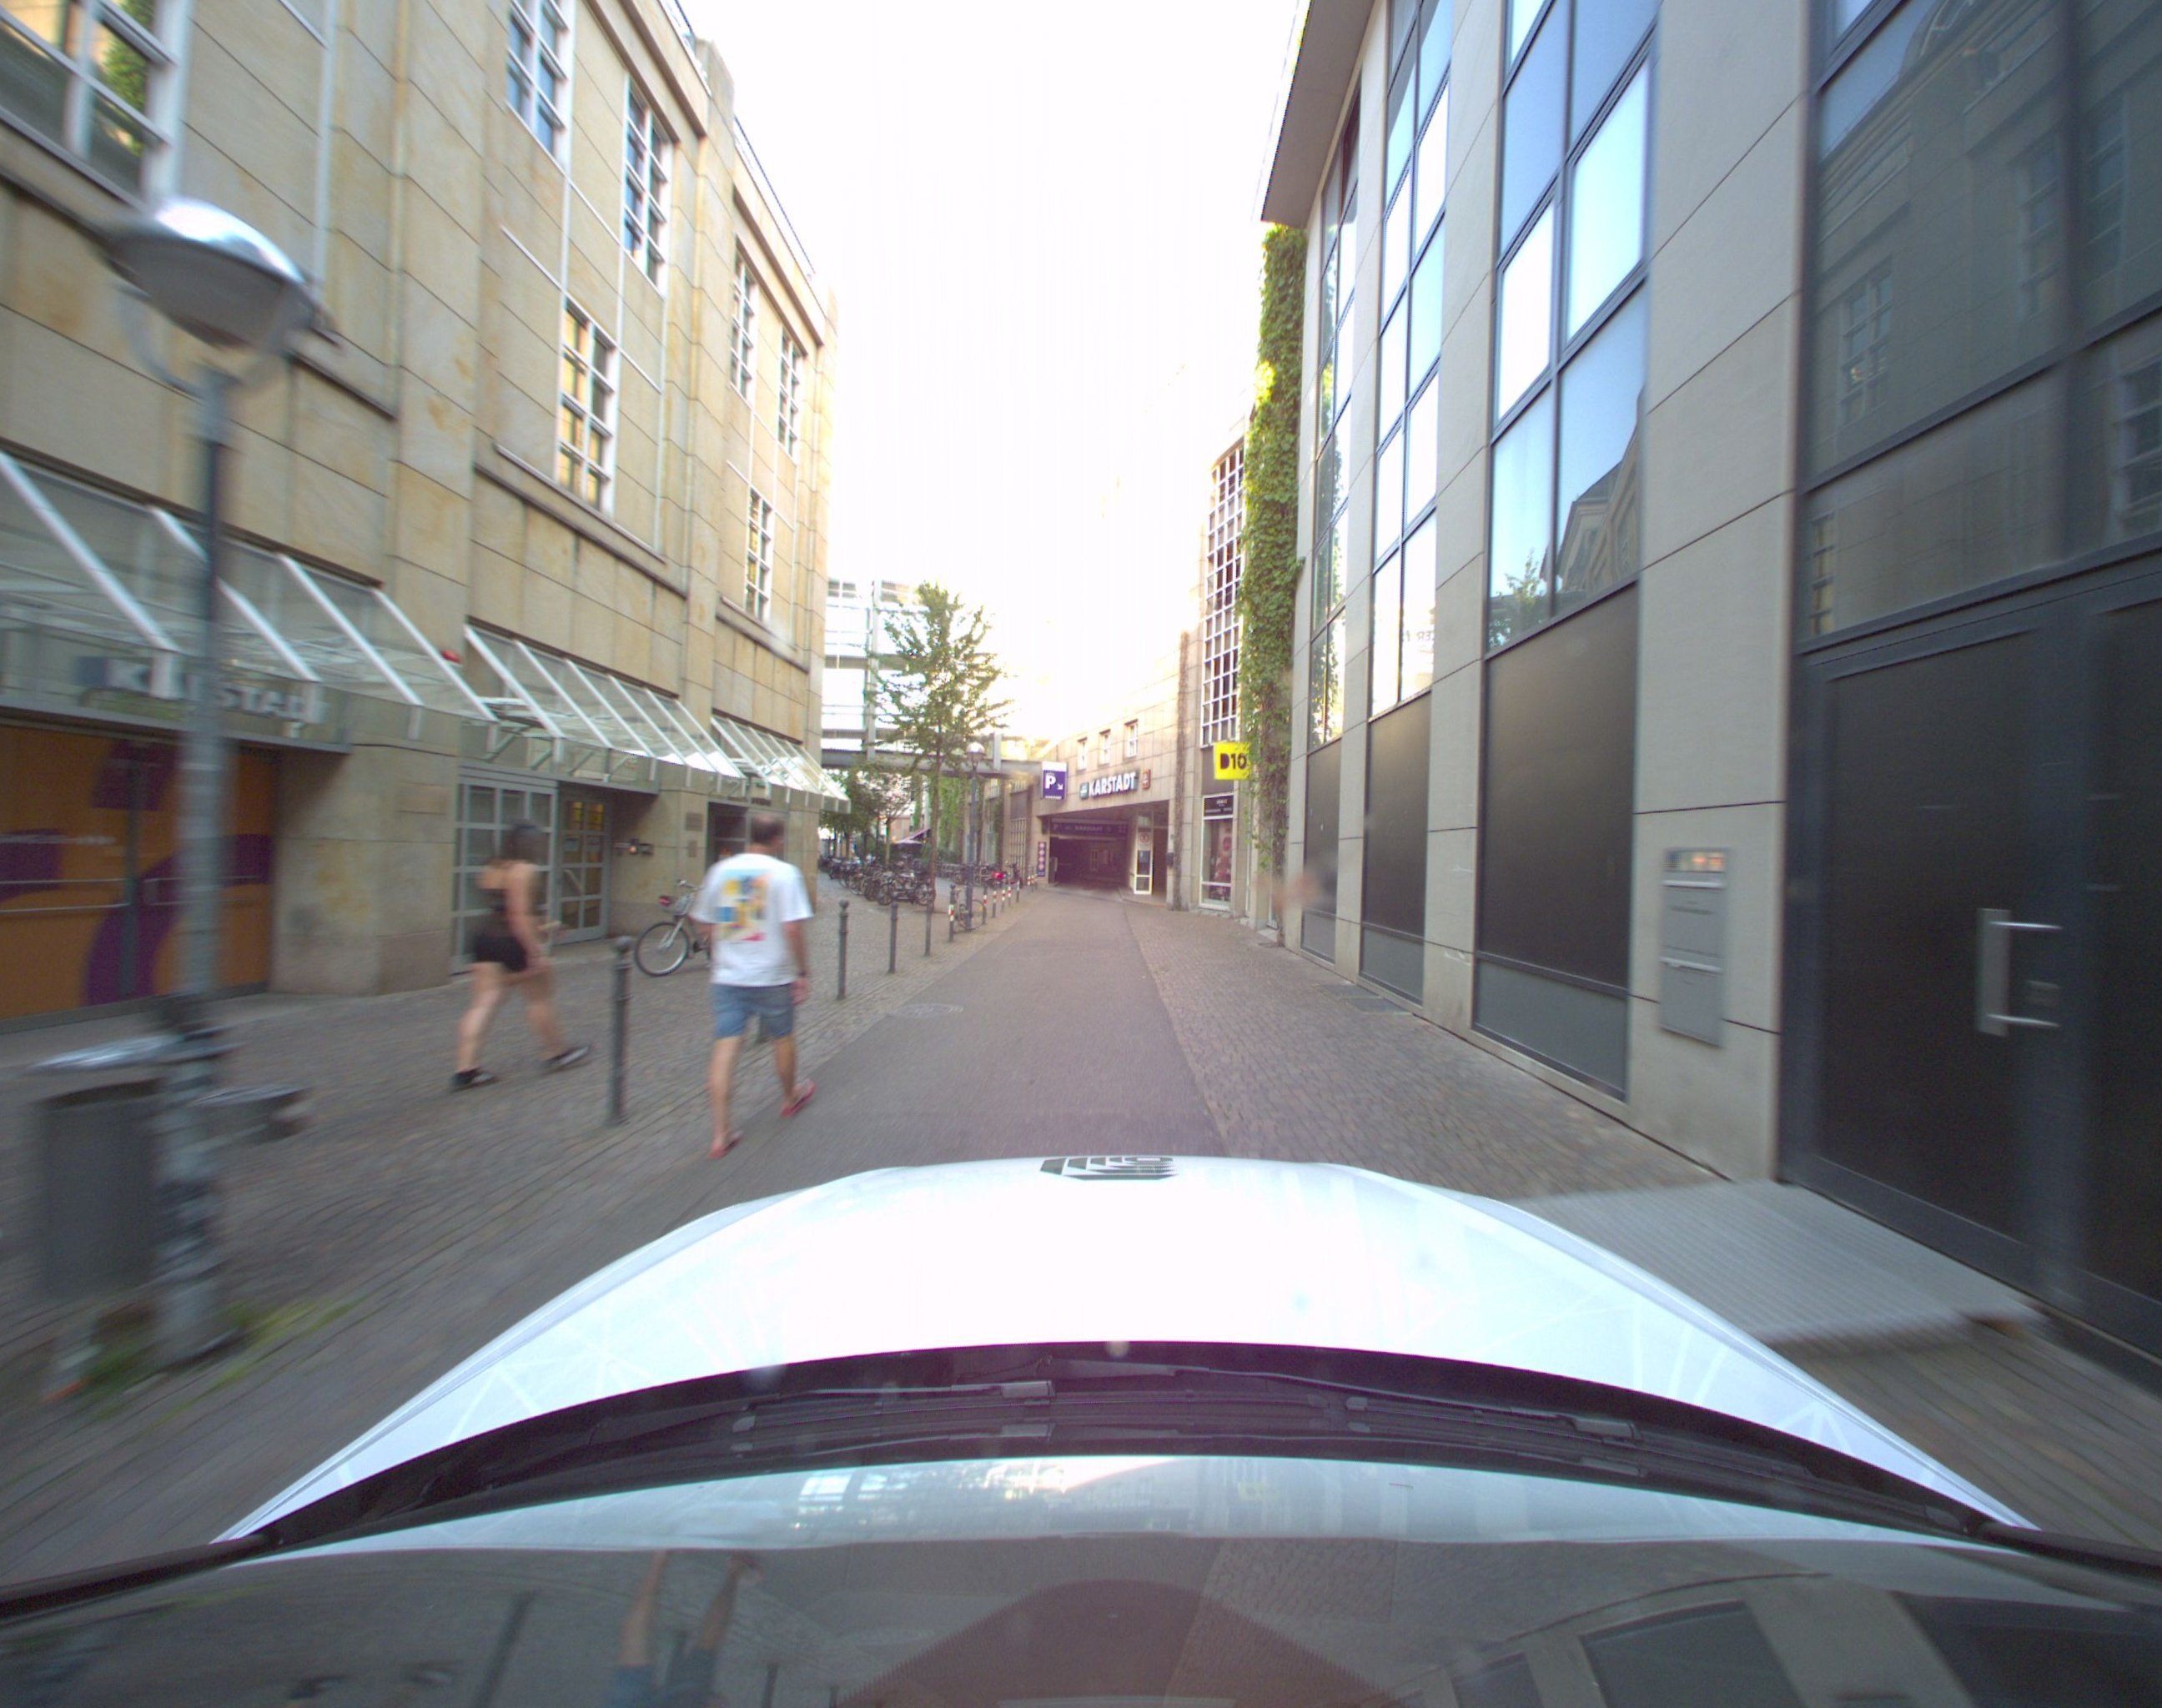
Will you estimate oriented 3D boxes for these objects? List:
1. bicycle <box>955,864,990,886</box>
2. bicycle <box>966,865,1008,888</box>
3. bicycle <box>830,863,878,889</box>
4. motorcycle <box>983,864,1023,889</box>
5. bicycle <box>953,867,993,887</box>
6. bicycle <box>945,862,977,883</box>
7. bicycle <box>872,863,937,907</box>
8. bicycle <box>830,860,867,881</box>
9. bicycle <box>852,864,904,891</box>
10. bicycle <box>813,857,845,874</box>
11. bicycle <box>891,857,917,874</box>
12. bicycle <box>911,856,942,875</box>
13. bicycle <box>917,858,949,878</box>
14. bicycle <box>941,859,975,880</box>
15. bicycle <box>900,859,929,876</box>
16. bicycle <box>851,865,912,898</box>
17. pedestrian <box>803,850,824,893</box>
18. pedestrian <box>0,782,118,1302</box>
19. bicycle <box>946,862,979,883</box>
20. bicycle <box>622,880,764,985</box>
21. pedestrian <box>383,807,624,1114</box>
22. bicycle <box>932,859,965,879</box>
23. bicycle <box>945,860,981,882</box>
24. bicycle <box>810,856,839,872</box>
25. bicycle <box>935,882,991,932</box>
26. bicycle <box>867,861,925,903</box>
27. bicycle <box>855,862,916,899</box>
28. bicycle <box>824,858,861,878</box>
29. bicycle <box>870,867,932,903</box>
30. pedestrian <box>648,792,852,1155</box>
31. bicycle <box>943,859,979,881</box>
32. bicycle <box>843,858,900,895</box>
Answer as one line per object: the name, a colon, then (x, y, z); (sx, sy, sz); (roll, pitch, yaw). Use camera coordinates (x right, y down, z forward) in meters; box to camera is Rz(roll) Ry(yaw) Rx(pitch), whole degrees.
bicycle: (-5.197, 1.004, 39.023); (1.544, 1.049, 0.571); (1, 0, -20)
bicycle: (-4.278, 1.031, 37.222); (1.854, 0.982, 0.460); (1, 0, -20)
bicycle: (-9.273, 0.888, 33.305); (1.832, 1.043, 0.530); (1, 0, -22)
motorcycle: (-3.391, 0.976, 35.610); (1.668, 1.050, 0.460); (1, 0, -20)
bicycle: (-5.064, 1.091, 38.072); (1.779, 0.904, 0.460); (1, 0, -20)
bicycle: (-6.104, 0.928, 41.396); (1.544, 1.049, 0.571); (1, 0, -20)
bicycle: (-5.074, 0.889, 23.437); (1.773, 1.231, 0.530); (1, 0, -22)
bicycle: (-11.948, 0.848, 41.856); (1.787, 1.019, 0.477); (1, 0, -22)
bicycle: (-7.854, 0.900, 31.548); (1.884, 1.043, 0.530); (1, 0, -22)
bicycle: (-16.455, 0.757, 53.170); (1.912, 1.112, 0.477); (1, 0, -22)
bicycle: (-12.840, 0.850, 59.097); (1.779, 1.190, 0.582); (1, 0, -20)
bicycle: (-9.492, 0.716, 49.936); (1.779, 1.114, 0.539); (1, 0, -20)
bicycle: (-8.731, 0.818, 48.132); (1.779, 1.114, 0.539); (1, 0, -20)
bicycle: (-6.785, 0.841, 44.846); (1.779, 1.114, 0.539); (1, 0, -20)
bicycle: (-11.024, 0.914, 53.906); (1.778, 1.114, 0.539); (1, 0, -17)
bicycle: (-6.636, 0.899, 27.091); (1.901, 1.052, 0.530); (1, 0, -22)
pedestrian: (-10.007, 0.634, 30.461); (0.700, 1.582, 0.714); (1, 0, -22)
pedestrian: (-3.974, 0.615, 2.514); (0.804, 1.729, 0.948); (2, 0, -1)
bicycle: (-5.814, 0.908, 40.000); (1.544, 1.049, 0.571); (1, 0, -20)
bicycle: (-4.776, 0.915, 10.168); (0.517, 1.138, 1.772); (1, 0, 17)
pedestrian: (-3.735, 0.622, 5.347); (0.779, 1.795, 0.976); (1, 0, 14)
bicycle: (-7.444, 0.864, 45.830); (1.779, 1.114, 0.539); (1, 0, -20)
bicycle: (-6.189, 0.908, 42.570); (1.779, 1.114, 0.539); (1, 0, -20)
bicycle: (-18.013, 0.719, 57.288); (1.912, 1.112, 0.477); (1, 0, -22)
bicycle: (-2.441, 1.090, 17.062); (0.489, 0.939, 1.666); (3, 0, 16)
bicycle: (-5.633, 0.852, 24.773); (1.660, 1.231, 0.530); (1, 0, -22)
bicycle: (-6.363, 0.851, 26.561); (1.880, 1.177, 0.530); (1, 0, -22)
bicycle: (-12.511, 0.755, 42.694); (1.787, 1.019, 0.477); (1, 0, -22)
bicycle: (-5.648, 0.965, 25.607); (1.844, 1.122, 0.530); (1, 0, -22)
pedestrian: (-1.794, 0.604, 4.554); (0.740, 1.822, 0.878); (1, 0, 0)
bicycle: (-6.436, 0.853, 43.644); (1.779, 1.114, 0.539); (2, 0, -20)
bicycle: (-7.143, 0.751, 27.765); (1.840, 1.225, 0.530); (1, 0, -22)
